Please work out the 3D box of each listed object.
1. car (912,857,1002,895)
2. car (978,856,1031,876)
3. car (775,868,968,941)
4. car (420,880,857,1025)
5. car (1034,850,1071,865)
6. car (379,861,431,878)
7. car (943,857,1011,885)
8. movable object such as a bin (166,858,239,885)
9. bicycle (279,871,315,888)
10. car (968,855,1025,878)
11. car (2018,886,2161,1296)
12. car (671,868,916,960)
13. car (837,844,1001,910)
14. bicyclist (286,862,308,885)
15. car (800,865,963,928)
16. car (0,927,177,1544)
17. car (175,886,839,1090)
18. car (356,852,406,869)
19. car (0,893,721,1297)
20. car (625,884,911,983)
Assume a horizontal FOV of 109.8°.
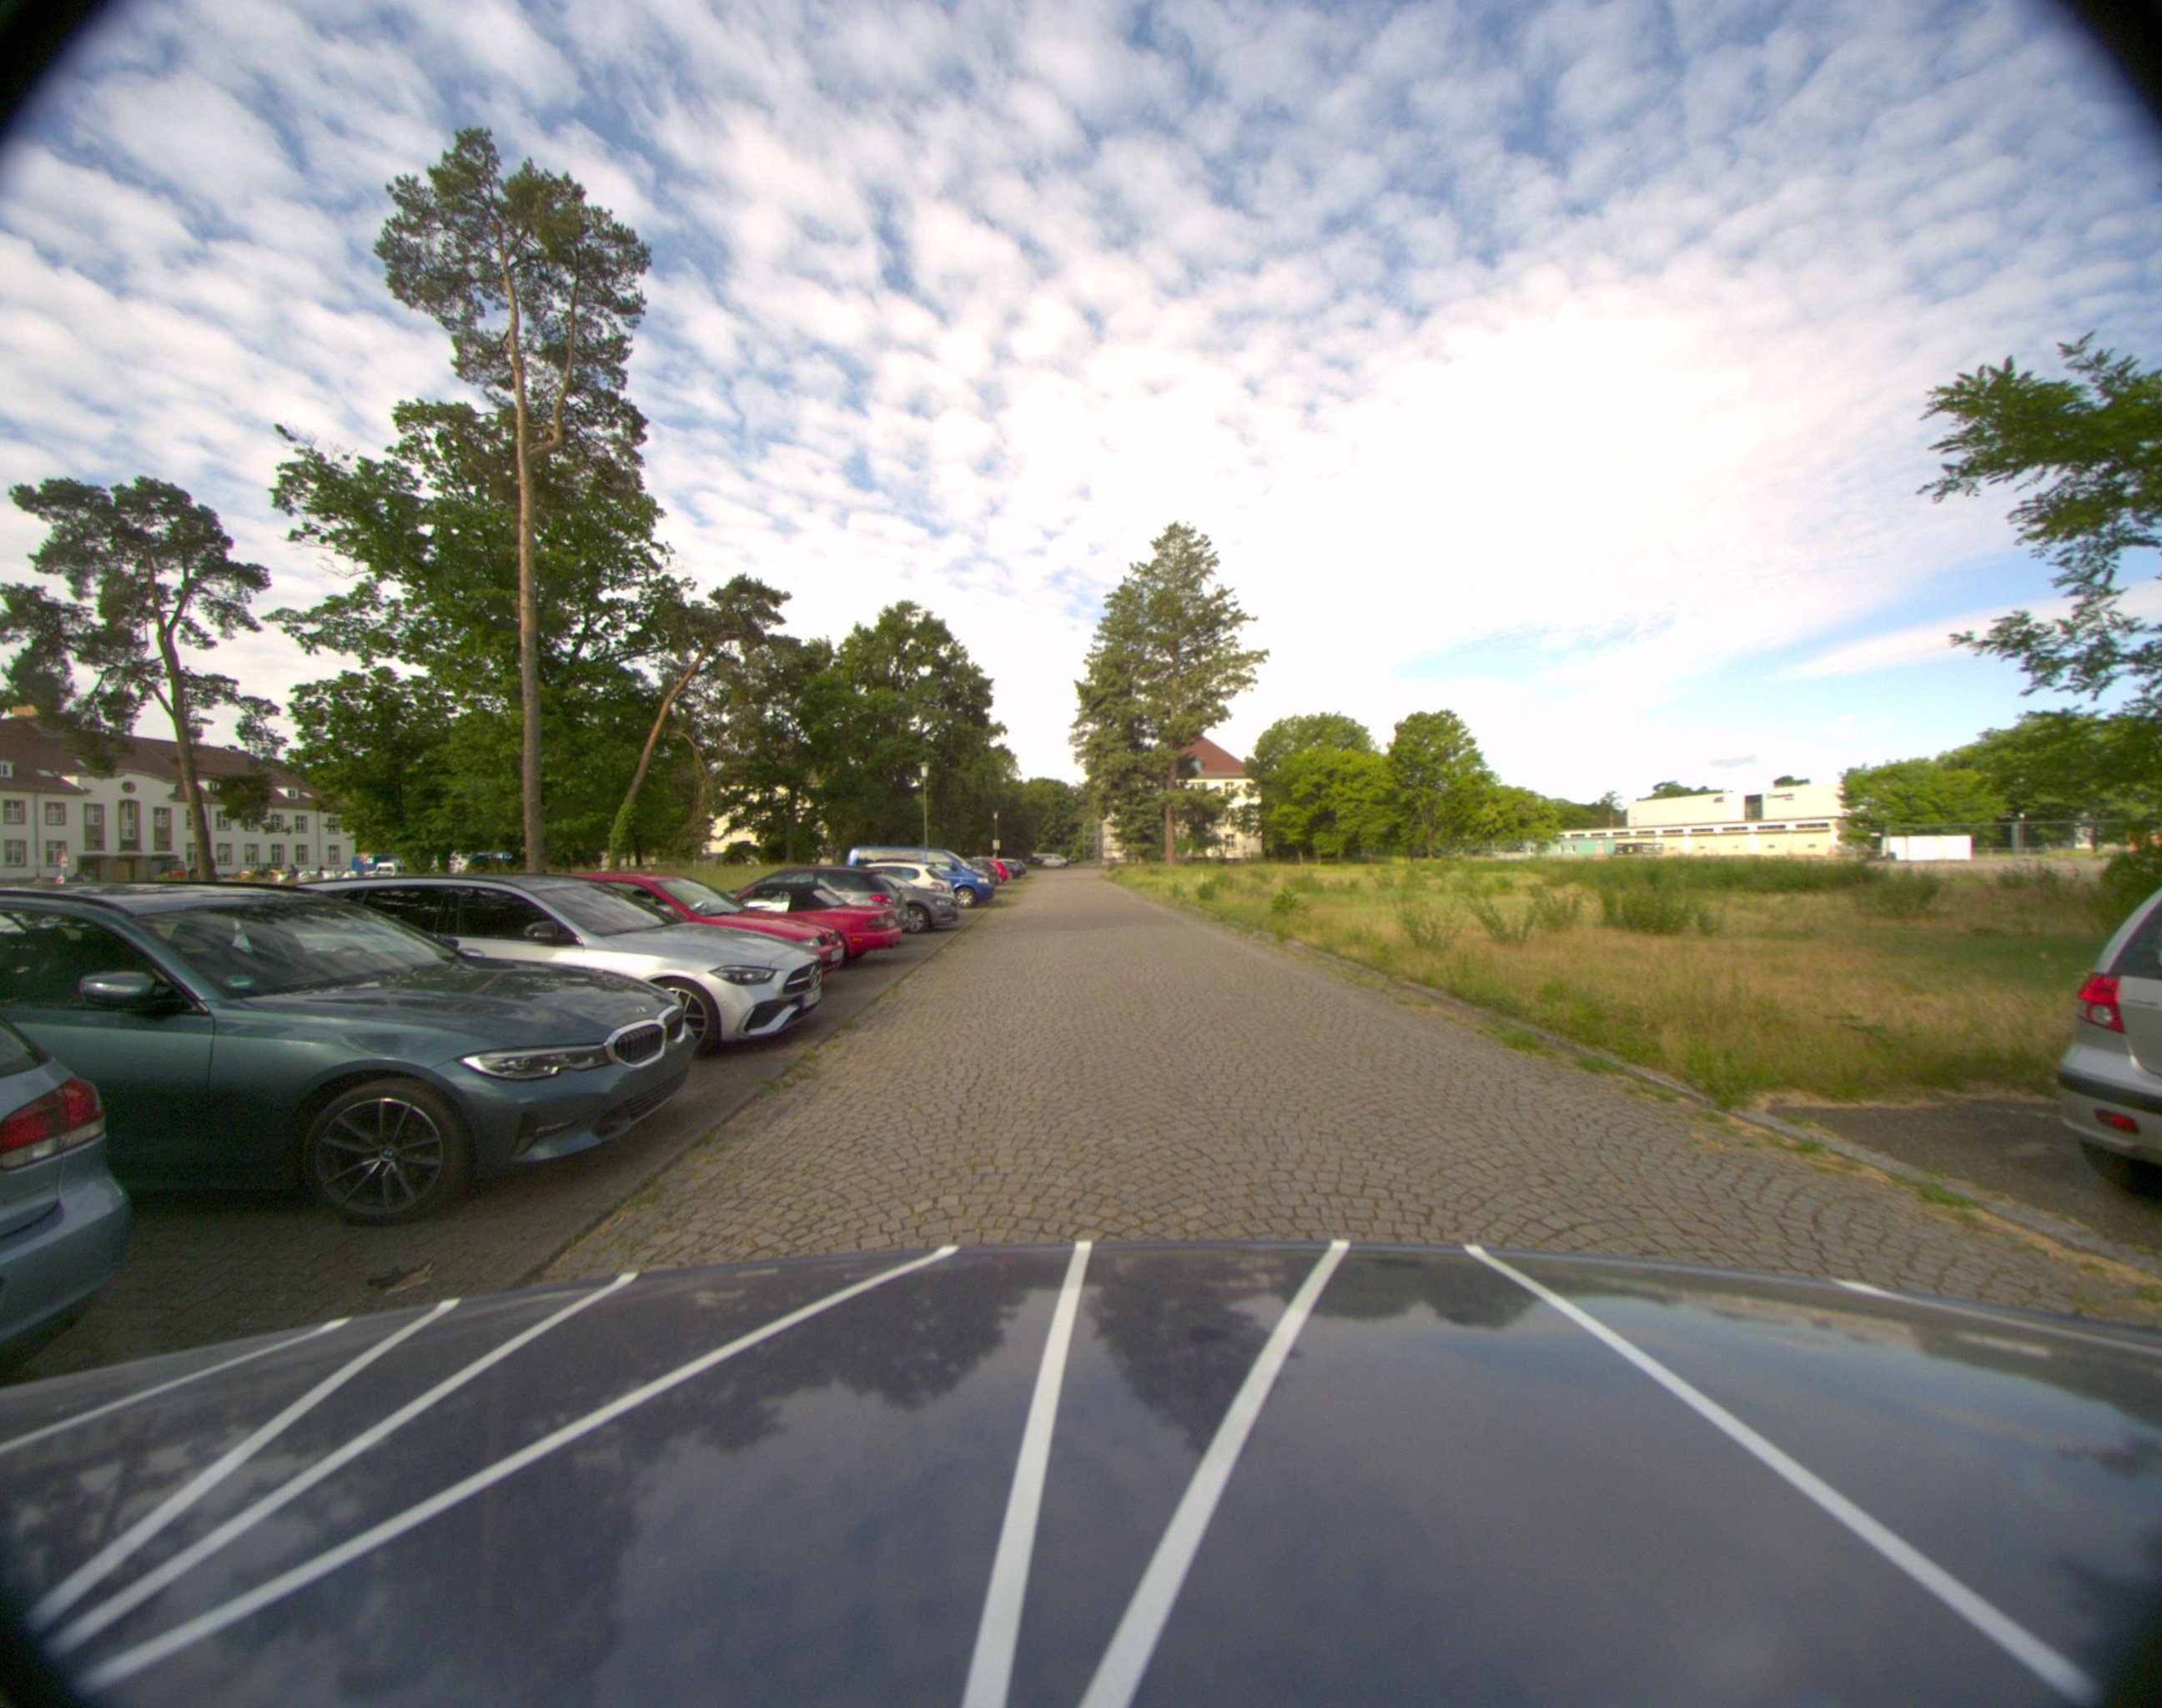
[{"bbox_3d":[-5.451,0.966,33.734,3.839,1.592,1.580,-1,0,-5],"label":"car"},{"bbox_3d":[-5.928,0.938,59.286,3.836,1.520,1.674,-1,0,3],"label":"car"},{"bbox_3d":[-4.527,1.071,16.778,3.781,1.457,1.642,-1,0,0],"label":"car"},{"bbox_3d":[-4.974,1.082,8.987,4.118,1.415,1.719,-1,0,-1],"label":"car"},{"bbox_3d":[-4.068,0.536,108.059,5.130,2.002,1.804,-1,0,-3],"label":"car"},{"bbox_3d":[-70.523,1.607,79.355,1.847,1.674,3.937,1,0,1],"label":"car"},{"bbox_3d":[-5.994,0.963,44.109,3.839,1.516,1.580,-1,0,-5],"label":"car"},{"bbox_3d":[-93.007,1.827,80.536,2.000,2.752,5.200,-1,0,-7],"label":"movable object such as a bin"},{"bbox_3d":[-60.142,1.949,58.328,0.638,1.201,1.981,-1,0,1],"label":"bicycle"},{"bbox_3d":[-6.016,0.884,54.526,3.836,1.609,1.581,-1,0,3],"label":"car"},{"bbox_3d":[5.785,0.803,2.491,3.587,1.467,1.646,-4,1,-4],"label":"car"},{"bbox_3d":[-5.108,1.048,13.866,3.838,1.494,1.604,-1,0,-2],"label":"car"},{"bbox_3d":[-5.220,0.736,25.093,4.954,2.011,2.060,1,0,-1],"label":"car"},{"bbox_3d":[-60.146,1.483,58.280,0.668,1.724,0.844,-3,1,1],"label":"bicyclist"},{"bbox_3d":[-5.083,1.059,19.672,3.762,1.490,1.581,-1,0,0],"label":"car"},{"bbox_3d":[-4.526,0.976,1.258,3.853,1.462,1.641,-1,0,-4],"label":"car"},{"bbox_3d":[-4.551,1.033,6.605,4.337,1.420,1.766,0,0,-3],"label":"car"},{"bbox_3d":[-84.531,0.750,91.786,2.218,2.002,4.001,-1,0,3],"label":"car"},{"bbox_3d":[-4.567,1.027,3.901,4.526,1.474,1.807,-1,0,-4],"label":"car"},{"bbox_3d":[-4.491,1.128,11.280,3.555,1.279,1.608,-1,-1,-1],"label":"car"}]
